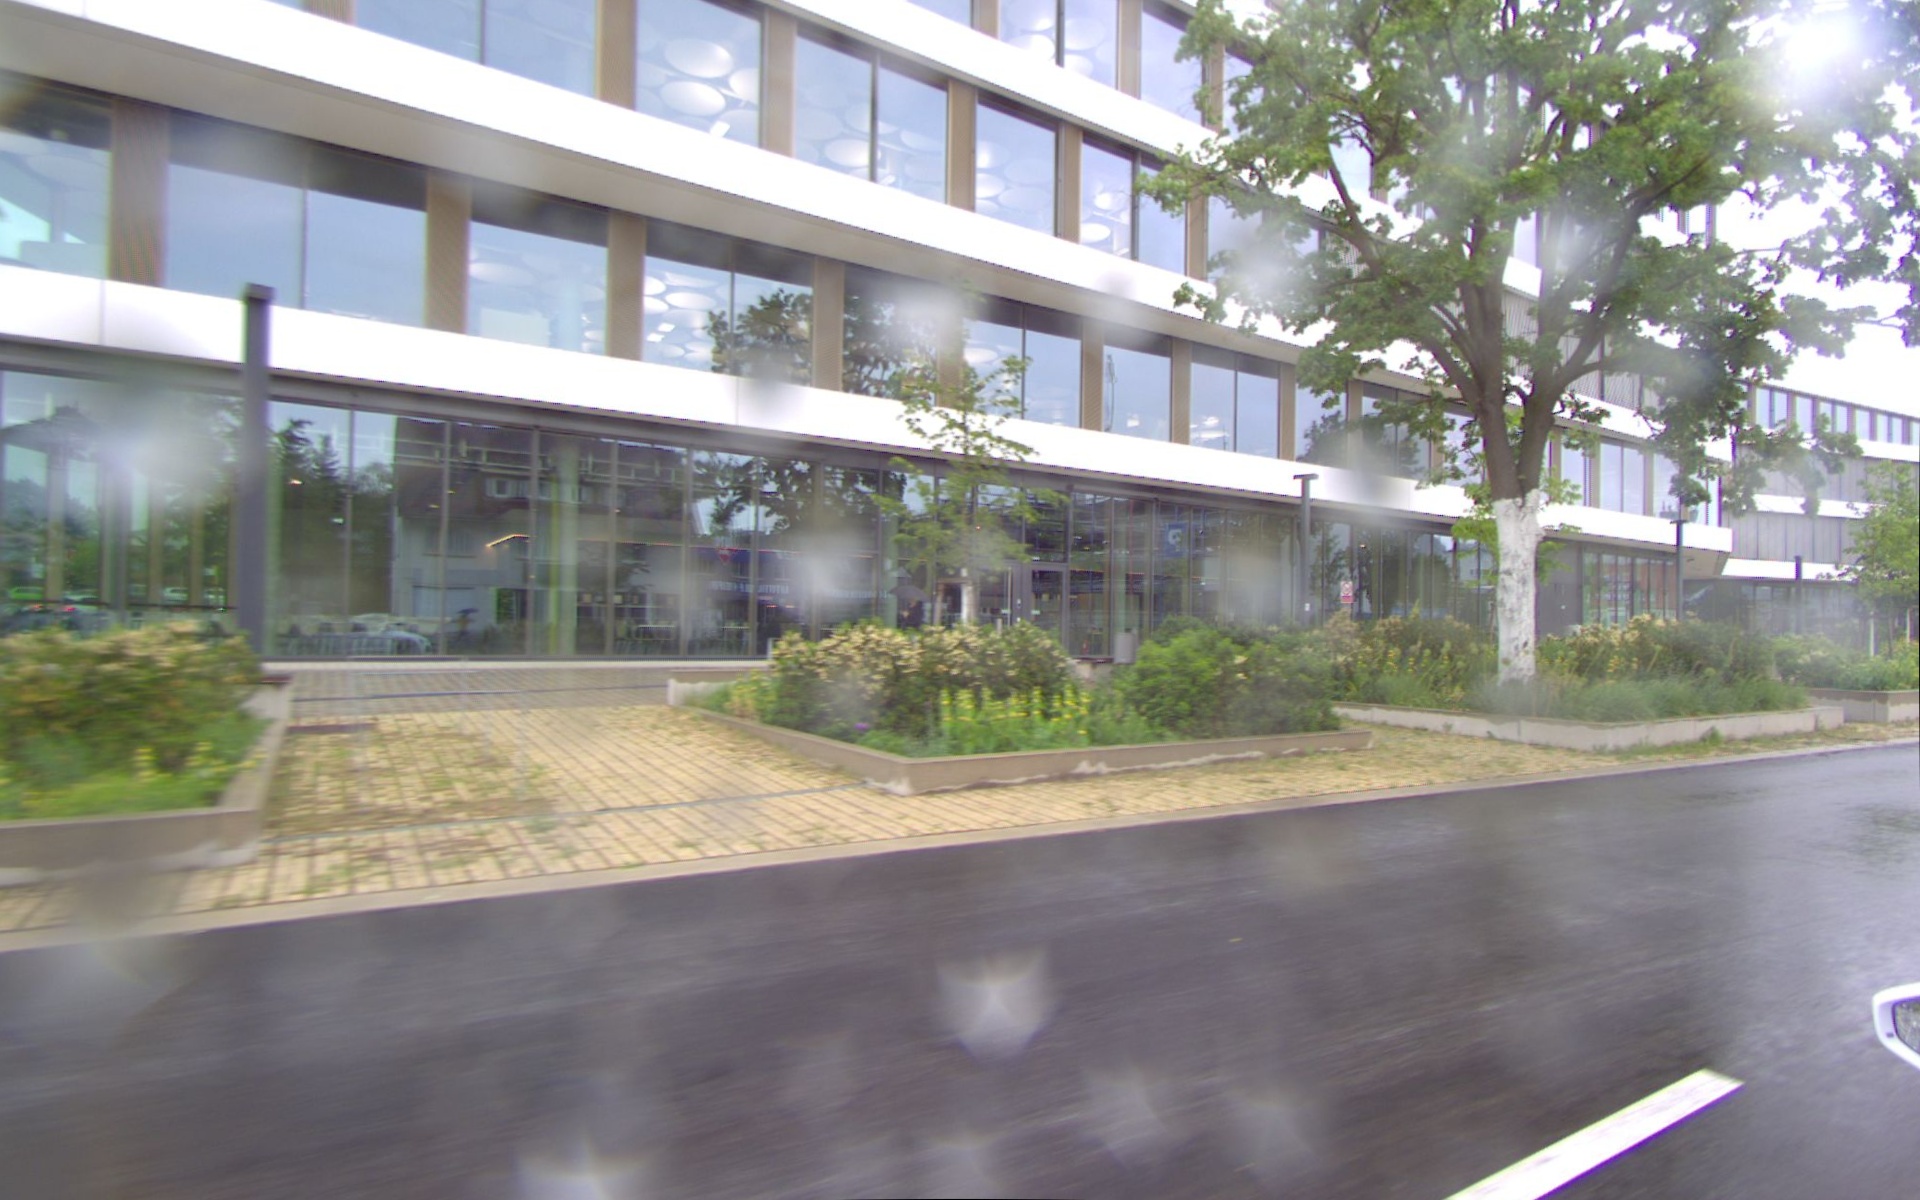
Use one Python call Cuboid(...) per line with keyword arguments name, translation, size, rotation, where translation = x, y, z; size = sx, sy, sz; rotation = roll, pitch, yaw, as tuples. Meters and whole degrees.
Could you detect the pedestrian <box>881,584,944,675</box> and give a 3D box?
Cuboid(name="pedestrian", translation=(-0.949, 0.586, 19.977), size=(0.945, 1.726, 0.721), rotation=(3, 2, -29))
